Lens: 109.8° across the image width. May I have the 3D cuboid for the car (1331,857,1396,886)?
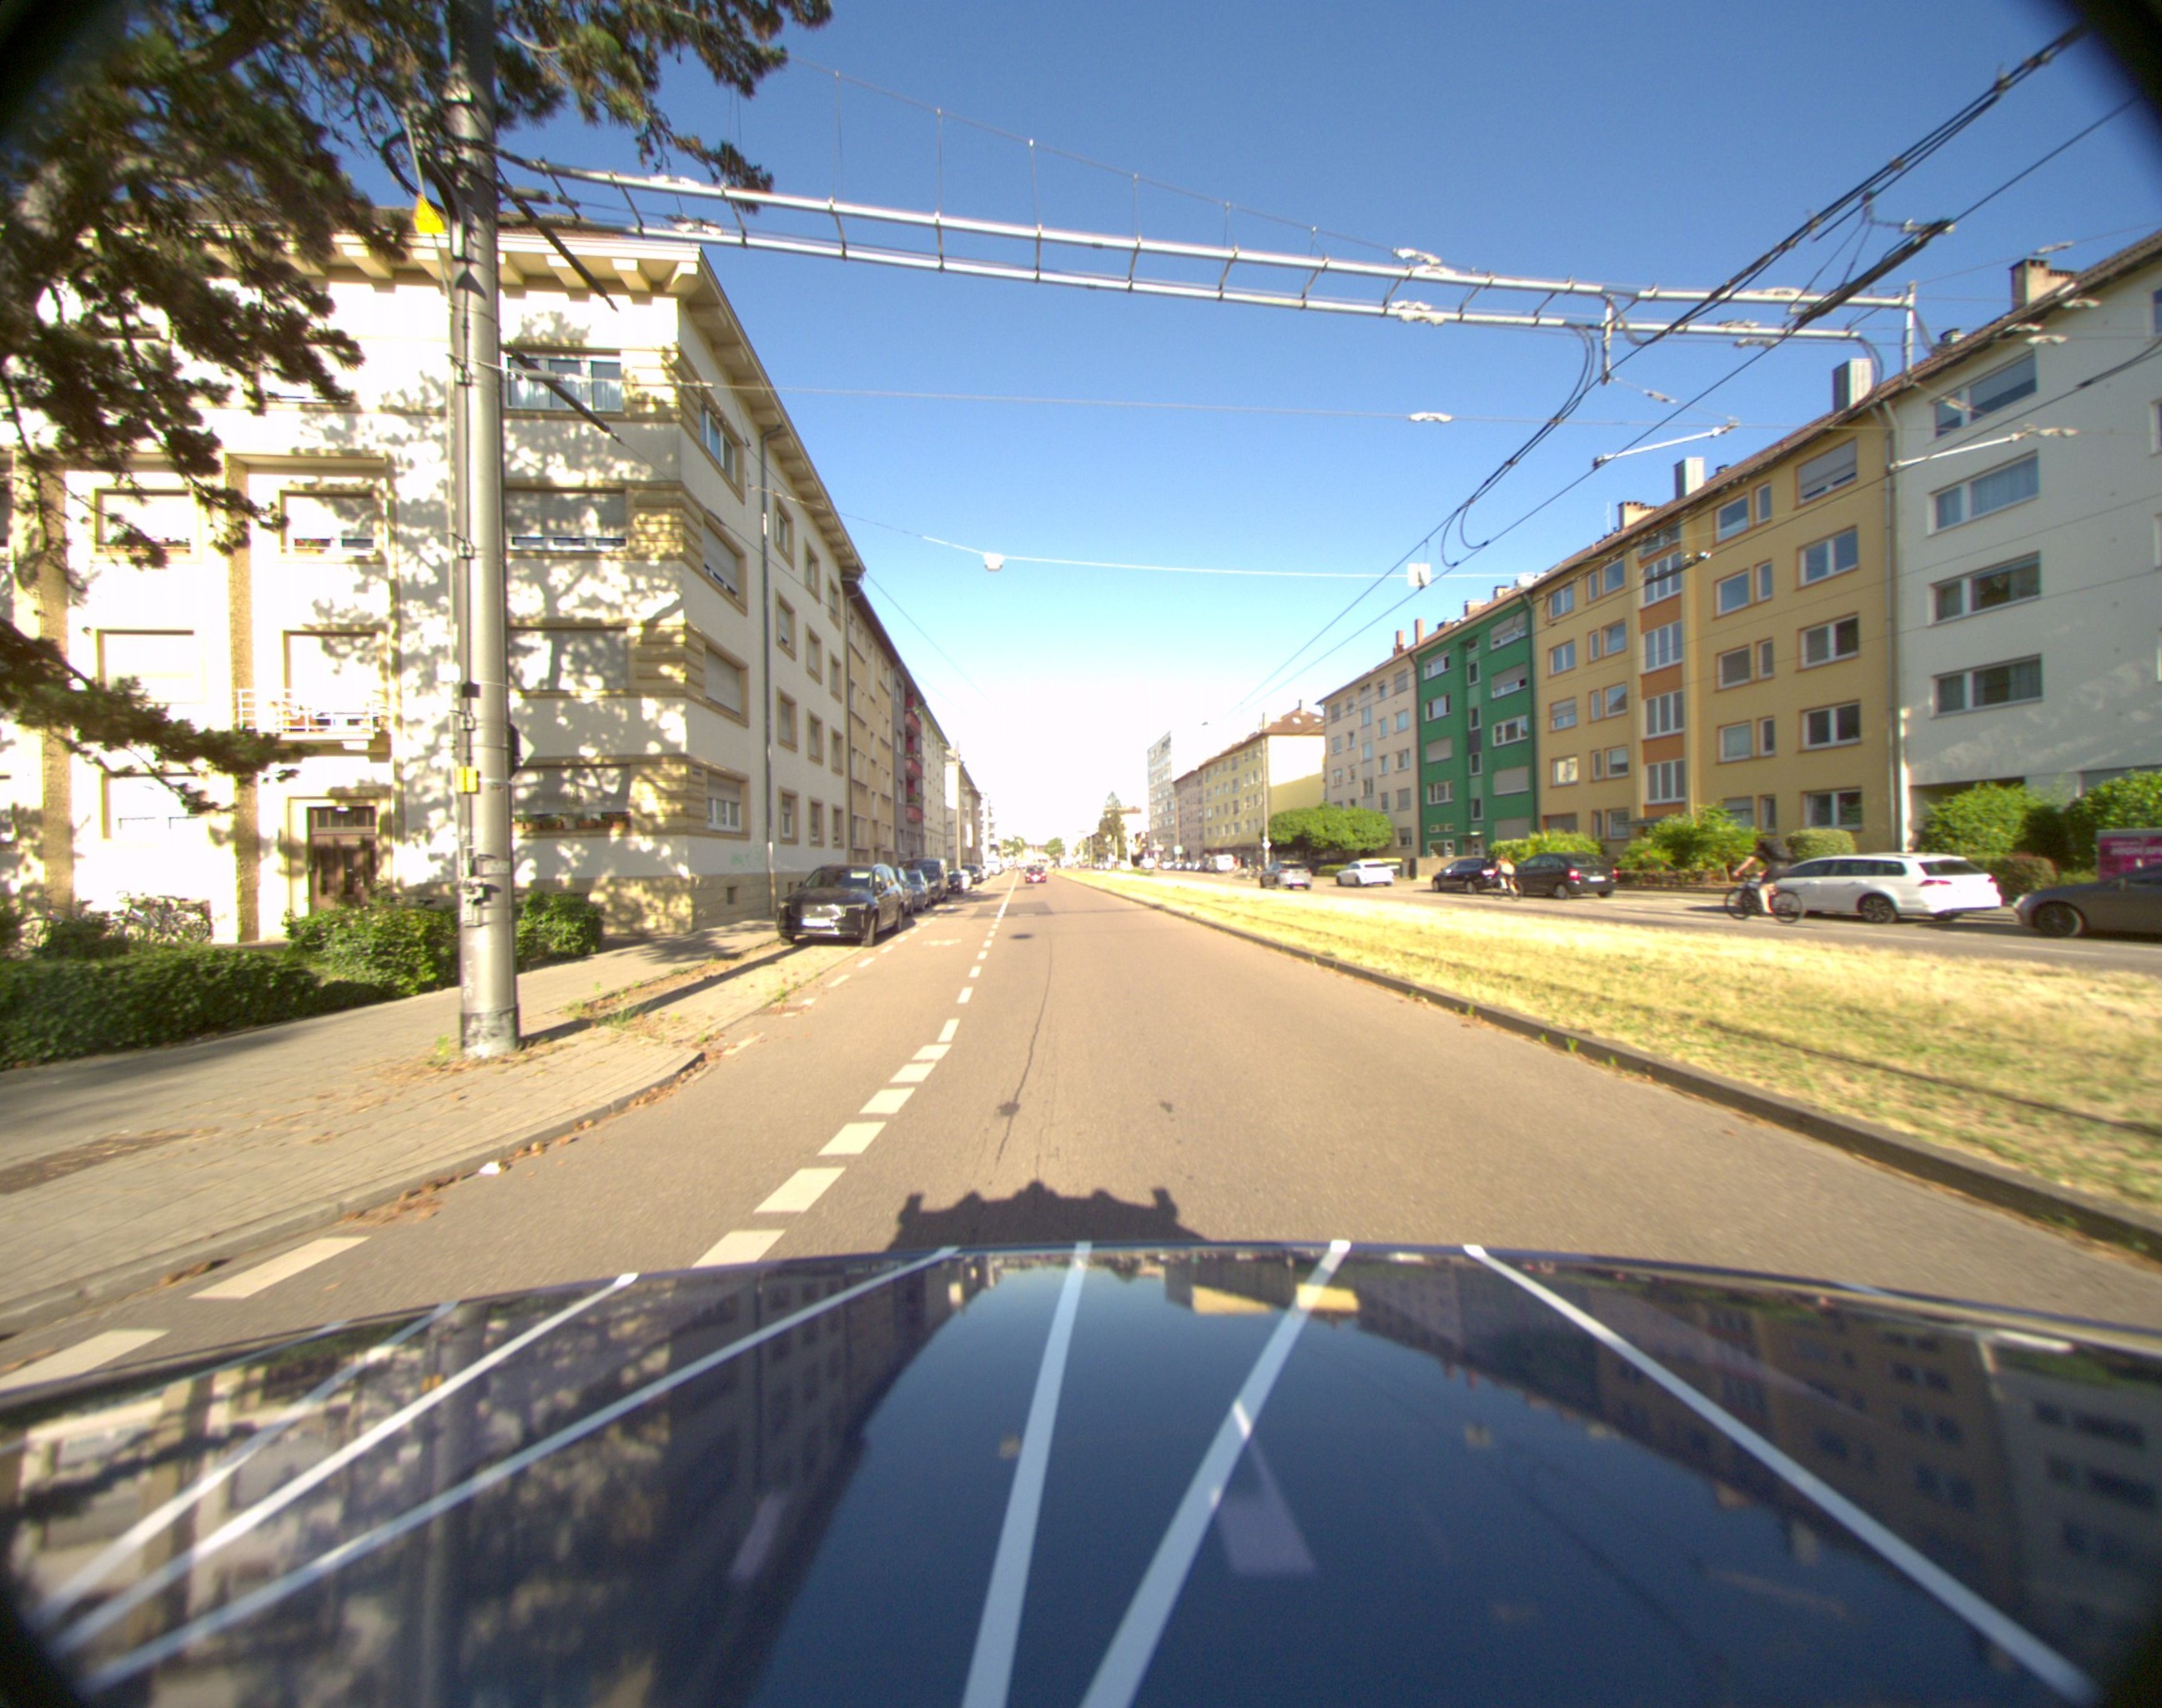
[{"bbox_3d":[15.723,0.954,42.527,1.733,1.446,4.374,-2,0,-4],"label":"car"}]

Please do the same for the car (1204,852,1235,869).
[{"bbox_3d":[16.662,0.760,91.431,2.000,1.938,5.497,-4,0,-7],"label":"car"}]

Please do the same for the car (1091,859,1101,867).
[{"bbox_3d":[2.948,1.887,152.727,1.618,1.550,3.998,1,0,-5],"label":"car"}]

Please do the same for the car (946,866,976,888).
[{"bbox_3d":[-8.124,1.550,51.706,1.707,1.268,4.301,2,0,-5],"label":"car"}]

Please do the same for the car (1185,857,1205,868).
[{"bbox_3d":[15.493,1.091,102.986,1.788,1.377,3.766,-4,0,-5],"label":"car"}]

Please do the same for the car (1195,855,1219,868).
[{"bbox_3d":[16.086,0.982,97.257,1.788,1.465,4.594,-4,0,-5],"label":"car"}]

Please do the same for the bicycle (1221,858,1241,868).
[{"bbox_3d":[17.258,1.024,87.415,2.103,1.099,0.472,-4,1,-4],"label":"bicycle"}]

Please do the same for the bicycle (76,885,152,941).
[{"bbox_3d":[-20.203,1.228,15.873,1.385,1.106,0.391,0,0,11],"label":"bicycle"}]

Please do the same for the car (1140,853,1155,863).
[{"bbox_3d":[12.596,0.768,144.319,1.999,1.887,4.667,-3,0,-6],"label":"car"}]

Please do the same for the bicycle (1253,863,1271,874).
[{"bbox_3d":[14.672,1.172,61.580,0.377,0.861,2.052,-4,0,-16],"label":"bicycle"}]

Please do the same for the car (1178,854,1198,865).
[{"bbox_3d":[15.246,0.744,108.512,1.788,1.412,4.413,-4,0,-5],"label":"car"}]

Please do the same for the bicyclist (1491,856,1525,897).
[{"bbox_3d":[14.676,0.776,26.106,0.775,1.376,0.648,-1,0,-4],"label":"bicyclist"}]

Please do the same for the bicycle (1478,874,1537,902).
[{"bbox_3d":[14.695,1.170,26.238,0.770,0.874,2.068,1,0,-4],"label":"bicycle"}]

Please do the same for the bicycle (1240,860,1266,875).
[{"bbox_3d":[14.637,1.162,64.576,2.053,1.086,0.615,-4,1,2],"label":"bicycle"}]

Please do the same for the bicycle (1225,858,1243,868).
[{"bbox_3d":[17.268,1.005,85.765,1.824,1.099,0.390,-4,1,-4],"label":"bicycle"}]

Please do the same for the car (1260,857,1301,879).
[{"bbox_3d":[14.676,1.015,56.089,1.640,1.433,3.732,-3,0,-7],"label":"car"}]

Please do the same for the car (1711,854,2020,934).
[{"bbox_3d":[17.495,0.805,17.381,1.898,1.483,4.701,-3,0,-6],"label":"car"}]

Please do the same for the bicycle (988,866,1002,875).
[{"bbox_3d":[-11.330,2.127,99.973,2.023,1.080,0.487,-3,1,43],"label":"bicycle"}]

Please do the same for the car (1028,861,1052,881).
[{"bbox_3d":[-3.287,1.318,60.408,1.863,1.461,3.807,0,0,-4],"label":"car"}]

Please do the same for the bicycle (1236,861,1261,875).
[{"bbox_3d":[14.670,1.196,66.576,2.053,1.086,0.615,-4,1,2],"label":"bicycle"}]

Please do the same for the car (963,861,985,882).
[{"bbox_3d":[-8.729,1.417,62.453,1.641,1.637,4.371,1,0,-7],"label":"car"}]

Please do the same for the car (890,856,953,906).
[{"bbox_3d":[-6.705,1.066,32.467,1.918,1.888,5.133,2,0,-5],"label":"car"}]

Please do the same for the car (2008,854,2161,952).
[{"bbox_3d":[18.039,0.778,11.834,1.699,1.506,4.323,-2,0,-7],"label":"car"}]

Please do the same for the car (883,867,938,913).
[{"bbox_3d":[-6.139,1.244,27.678,1.515,1.469,4.235,0,0,-7],"label":"car"}]

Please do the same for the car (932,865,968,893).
[{"bbox_3d":[-7.523,1.423,43.969,1.640,1.445,3.788,1,0,-4],"label":"car"}]

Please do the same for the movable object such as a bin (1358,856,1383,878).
[{"bbox_3d":[19.460,0.855,51.074,1.150,1.360,1.039,-4,1,-2],"label":"movable object such as a bin"}]

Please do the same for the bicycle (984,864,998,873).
[{"bbox_3d":[-11.740,1.888,99.162,1.912,1.081,0.474,1,4,39],"label":"bicycle"}]

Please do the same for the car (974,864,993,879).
[{"bbox_3d":[-10.035,1.828,78.553,1.699,1.450,4.377,0,0,-4],"label":"car"}]

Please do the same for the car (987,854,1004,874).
[{"bbox_3d":[-11.790,1.308,105.026,2.157,2.680,6.289,1,0,-5],"label":"car"}]

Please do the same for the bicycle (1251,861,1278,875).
[{"bbox_3d":[15.069,1.154,62.507,2.050,1.086,0.616,-3,1,23],"label":"bicycle"}]

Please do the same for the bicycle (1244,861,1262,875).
[{"bbox_3d":[13.829,1.125,61.245,0.511,1.086,1.933,-4,0,-16],"label":"bicycle"}]

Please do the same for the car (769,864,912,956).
[{"bbox_3d":[-5.240,1.127,17.291,1.884,1.707,4.932,2,0,-3],"label":"car"}]

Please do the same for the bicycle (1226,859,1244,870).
[{"bbox_3d":[17.289,1.158,85.315,1.824,1.099,0.390,-4,1,-4],"label":"bicycle"}]

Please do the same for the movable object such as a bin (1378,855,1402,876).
[{"bbox_3d":[20.758,0.774,51.088,1.150,1.360,1.039,-4,1,-2],"label":"movable object such as a bin"}]

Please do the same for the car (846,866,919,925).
[{"bbox_3d":[-5.902,1.191,22.963,1.599,1.569,3.893,1,0,-7],"label":"car"}]

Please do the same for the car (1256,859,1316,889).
[{"bbox_3d":[10.402,0.975,38.786,1.699,1.439,4.216,0,0,-3],"label":"car"}]

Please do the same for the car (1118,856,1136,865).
[{"bbox_3d":[7.128,1.049,118.890,1.840,1.376,4.411,0,0,-10],"label":"car"}]

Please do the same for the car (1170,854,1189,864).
[{"bbox_3d":[14.666,0.785,113.671,1.788,1.377,4.412,-4,0,-7],"label":"car"}]

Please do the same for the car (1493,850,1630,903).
[{"bbox_3d":[16.912,0.738,27.029,1.999,1.598,4.149,-4,0,-4],"label":"car"}]

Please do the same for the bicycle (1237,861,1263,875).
[{"bbox_3d":[14.654,1.207,65.932,2.053,1.086,0.615,-4,1,2],"label":"bicycle"}]

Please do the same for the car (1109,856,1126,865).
[{"bbox_3d":[5.972,1.086,125.043,1.789,1.519,4.411,0,0,-10],"label":"car"}]

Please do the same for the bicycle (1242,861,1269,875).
[{"bbox_3d":[14.664,1.177,63.850,2.053,1.086,0.615,-4,1,2],"label":"bicycle"}]

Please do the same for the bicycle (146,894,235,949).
[{"bbox_3d":[-18.590,1.402,15.870,1.386,1.106,0.391,0,0,0],"label":"bicycle"}]

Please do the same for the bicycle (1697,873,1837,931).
[{"bbox_3d":[15.204,1.018,16.966,0.770,1.139,2.473,1,0,-4],"label":"bicycle"}]

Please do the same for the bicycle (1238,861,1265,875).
[{"bbox_3d":[14.630,1.171,65.242,2.053,1.086,0.615,-4,1,2],"label":"bicycle"}]

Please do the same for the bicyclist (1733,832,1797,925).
[{"bbox_3d":[15.316,0.546,17.029,0.775,2.002,0.648,-4,1,-4],"label":"bicyclist"}]

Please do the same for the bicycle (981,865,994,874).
[{"bbox_3d":[-12.053,1.972,98.237,1.912,1.080,0.475,1,-1,39],"label":"bicycle"}]

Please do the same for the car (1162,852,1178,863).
[{"bbox_3d":[14.309,0.561,122.318,1.763,1.477,4.198,-4,0,-5],"label":"car"}]

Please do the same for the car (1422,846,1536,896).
[{"bbox_3d":[16.566,0.680,31.935,1.999,1.827,4.607,-3,0,-4],"label":"car"}]
